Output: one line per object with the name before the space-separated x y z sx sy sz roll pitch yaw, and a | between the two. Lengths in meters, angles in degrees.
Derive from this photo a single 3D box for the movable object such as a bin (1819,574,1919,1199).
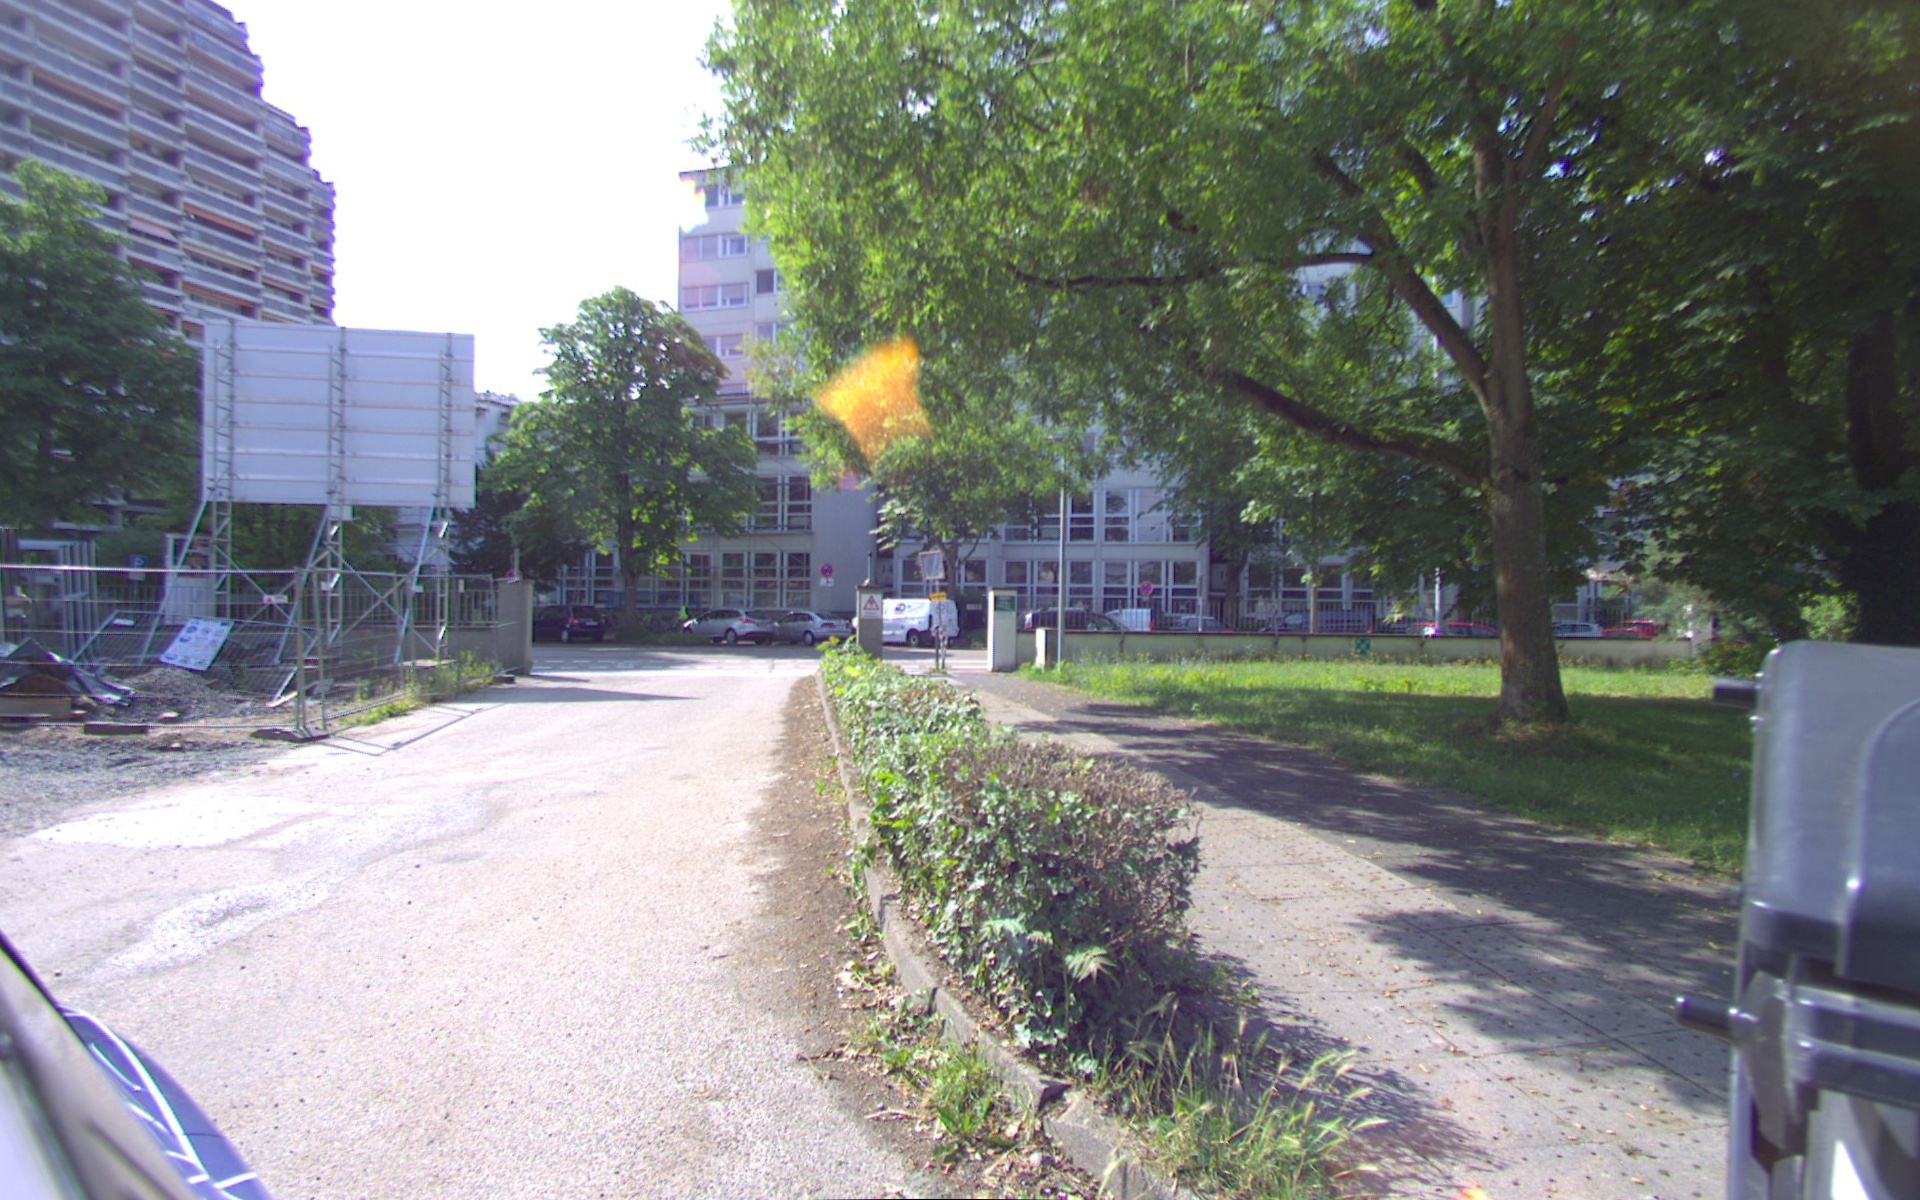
movable object such as a bin | 1.476 0.734 0.691 1.294 1.493 1.234 0 -1 38

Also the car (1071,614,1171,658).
car | 6.929 1.561 43.602 3.750 1.724 1.862 -2 2 35

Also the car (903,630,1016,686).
car | -0.073 2.375 42.441 4.569 2.012 1.879 0 3 40

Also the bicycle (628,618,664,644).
bicycle | -14.951 1.471 48.265 0.493 1.095 2.043 -3 1 20

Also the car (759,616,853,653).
car | -6.360 1.423 41.718 3.778 1.487 1.704 -1 -3 38

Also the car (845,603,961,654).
car | -2.374 1.135 41.493 4.638 1.927 1.907 0 -4 40

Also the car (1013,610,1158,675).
car | 3.352 1.157 27.282 3.526 1.624 1.683 1 -3 -9

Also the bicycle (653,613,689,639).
bicycle | -13.623 1.224 47.727 0.493 1.095 2.043 -3 1 20

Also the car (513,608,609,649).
car | -15.875 1.146 40.166 3.995 1.473 1.738 -2 2 39

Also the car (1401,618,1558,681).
car | 14.294 1.371 27.935 3.526 1.624 1.683 1 -3 -9

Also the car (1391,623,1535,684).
car | 14.438 1.509 29.133 3.227 1.497 1.676 -3 -1 -9

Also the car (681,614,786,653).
car | -9.261 1.409 41.275 4.224 1.475 1.762 -2 -4 34

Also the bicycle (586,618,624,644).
bicycle | -17.043 1.476 48.585 0.493 1.095 2.043 -3 1 20

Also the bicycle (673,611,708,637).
bicycle | -12.696 1.127 47.683 0.493 1.095 2.043 -3 1 20
